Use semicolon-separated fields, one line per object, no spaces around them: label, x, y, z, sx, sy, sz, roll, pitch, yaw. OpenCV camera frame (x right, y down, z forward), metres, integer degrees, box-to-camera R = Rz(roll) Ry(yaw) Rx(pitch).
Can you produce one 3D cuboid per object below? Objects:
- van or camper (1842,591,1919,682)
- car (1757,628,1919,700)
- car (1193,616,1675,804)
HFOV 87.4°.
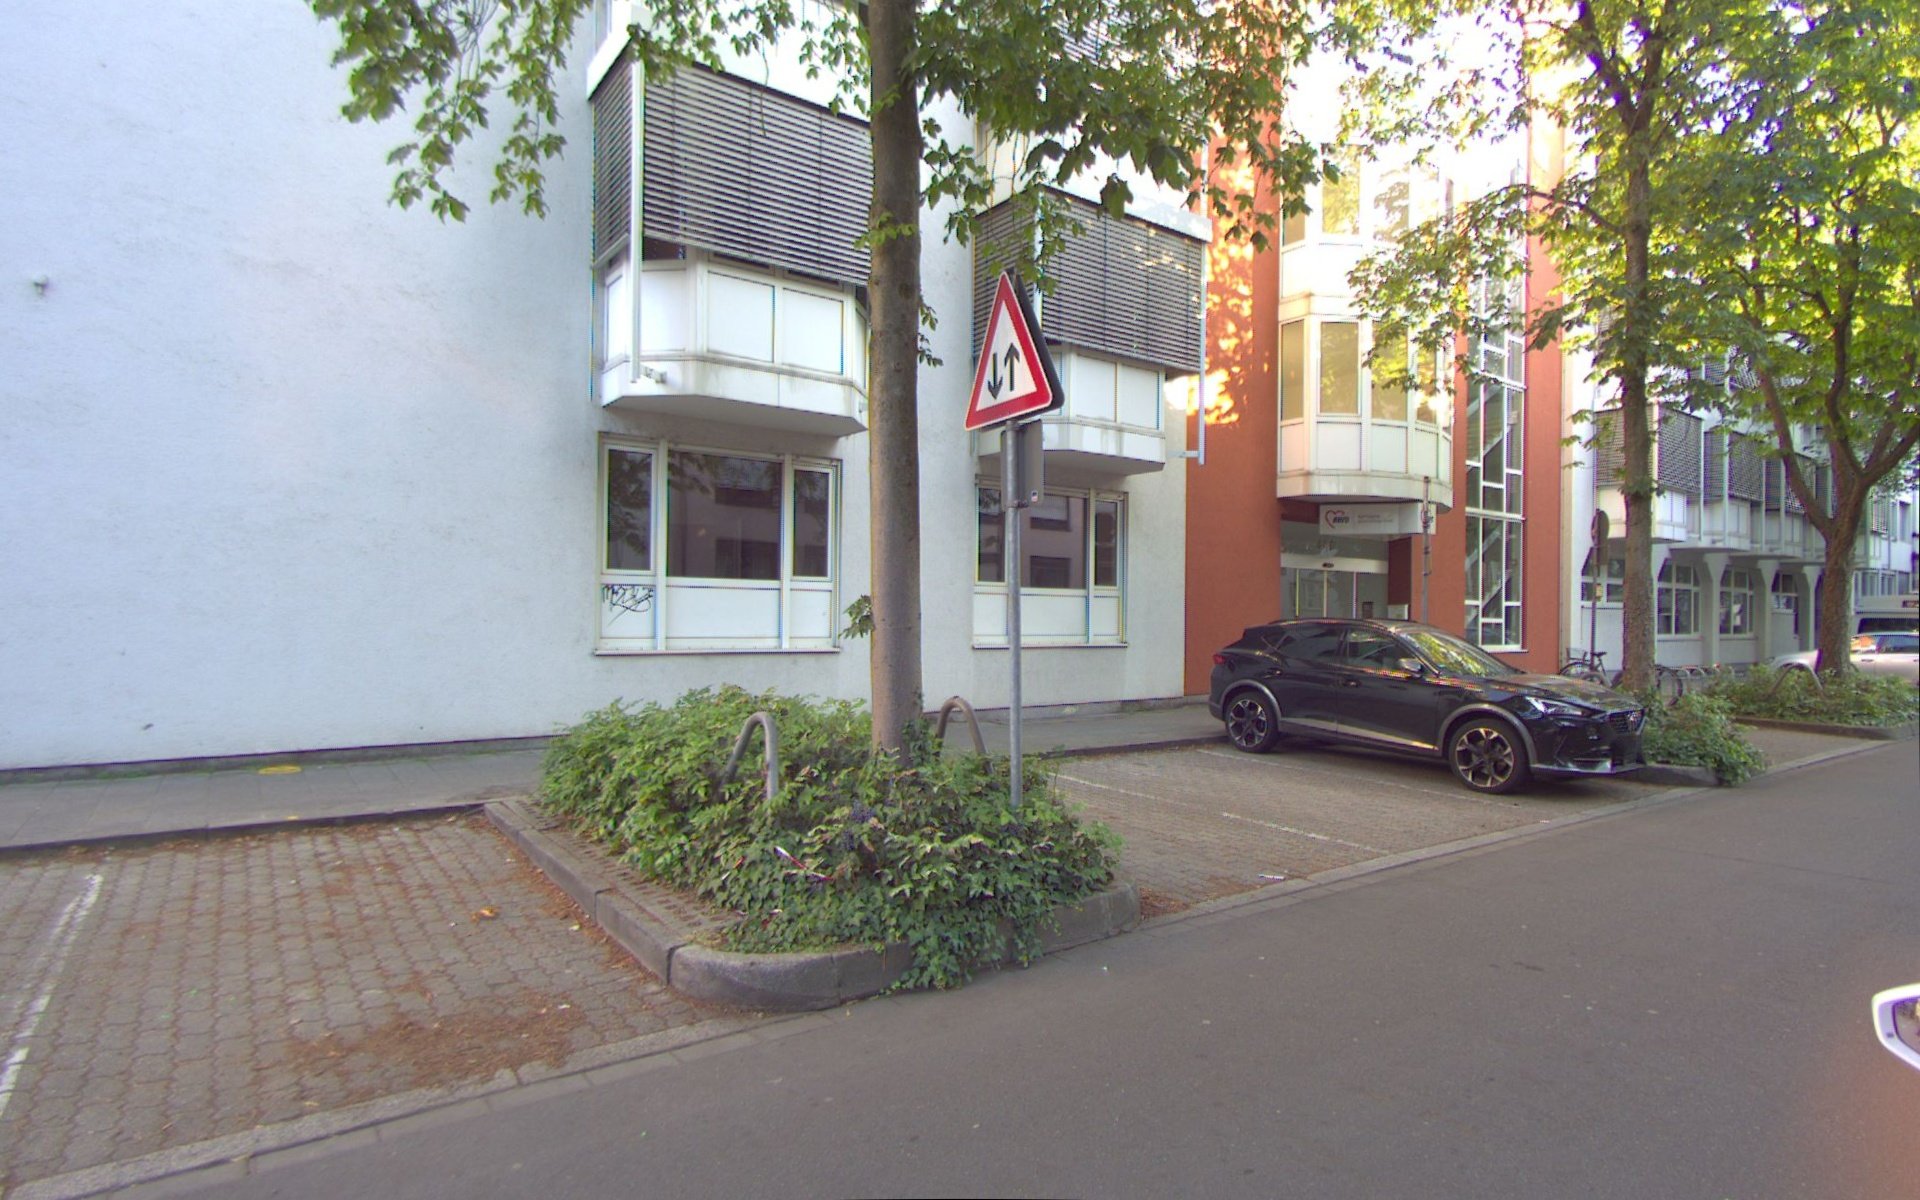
van or camper;27.895;1.029;28.040;1.981;2.511;4.632;1;-1;-36
car;21.155;1.438;23.240;1.767;1.537;3.942;1;-1;-35
car;4.710;0.952;10.613;1.768;1.537;4.325;1;-1;-35
